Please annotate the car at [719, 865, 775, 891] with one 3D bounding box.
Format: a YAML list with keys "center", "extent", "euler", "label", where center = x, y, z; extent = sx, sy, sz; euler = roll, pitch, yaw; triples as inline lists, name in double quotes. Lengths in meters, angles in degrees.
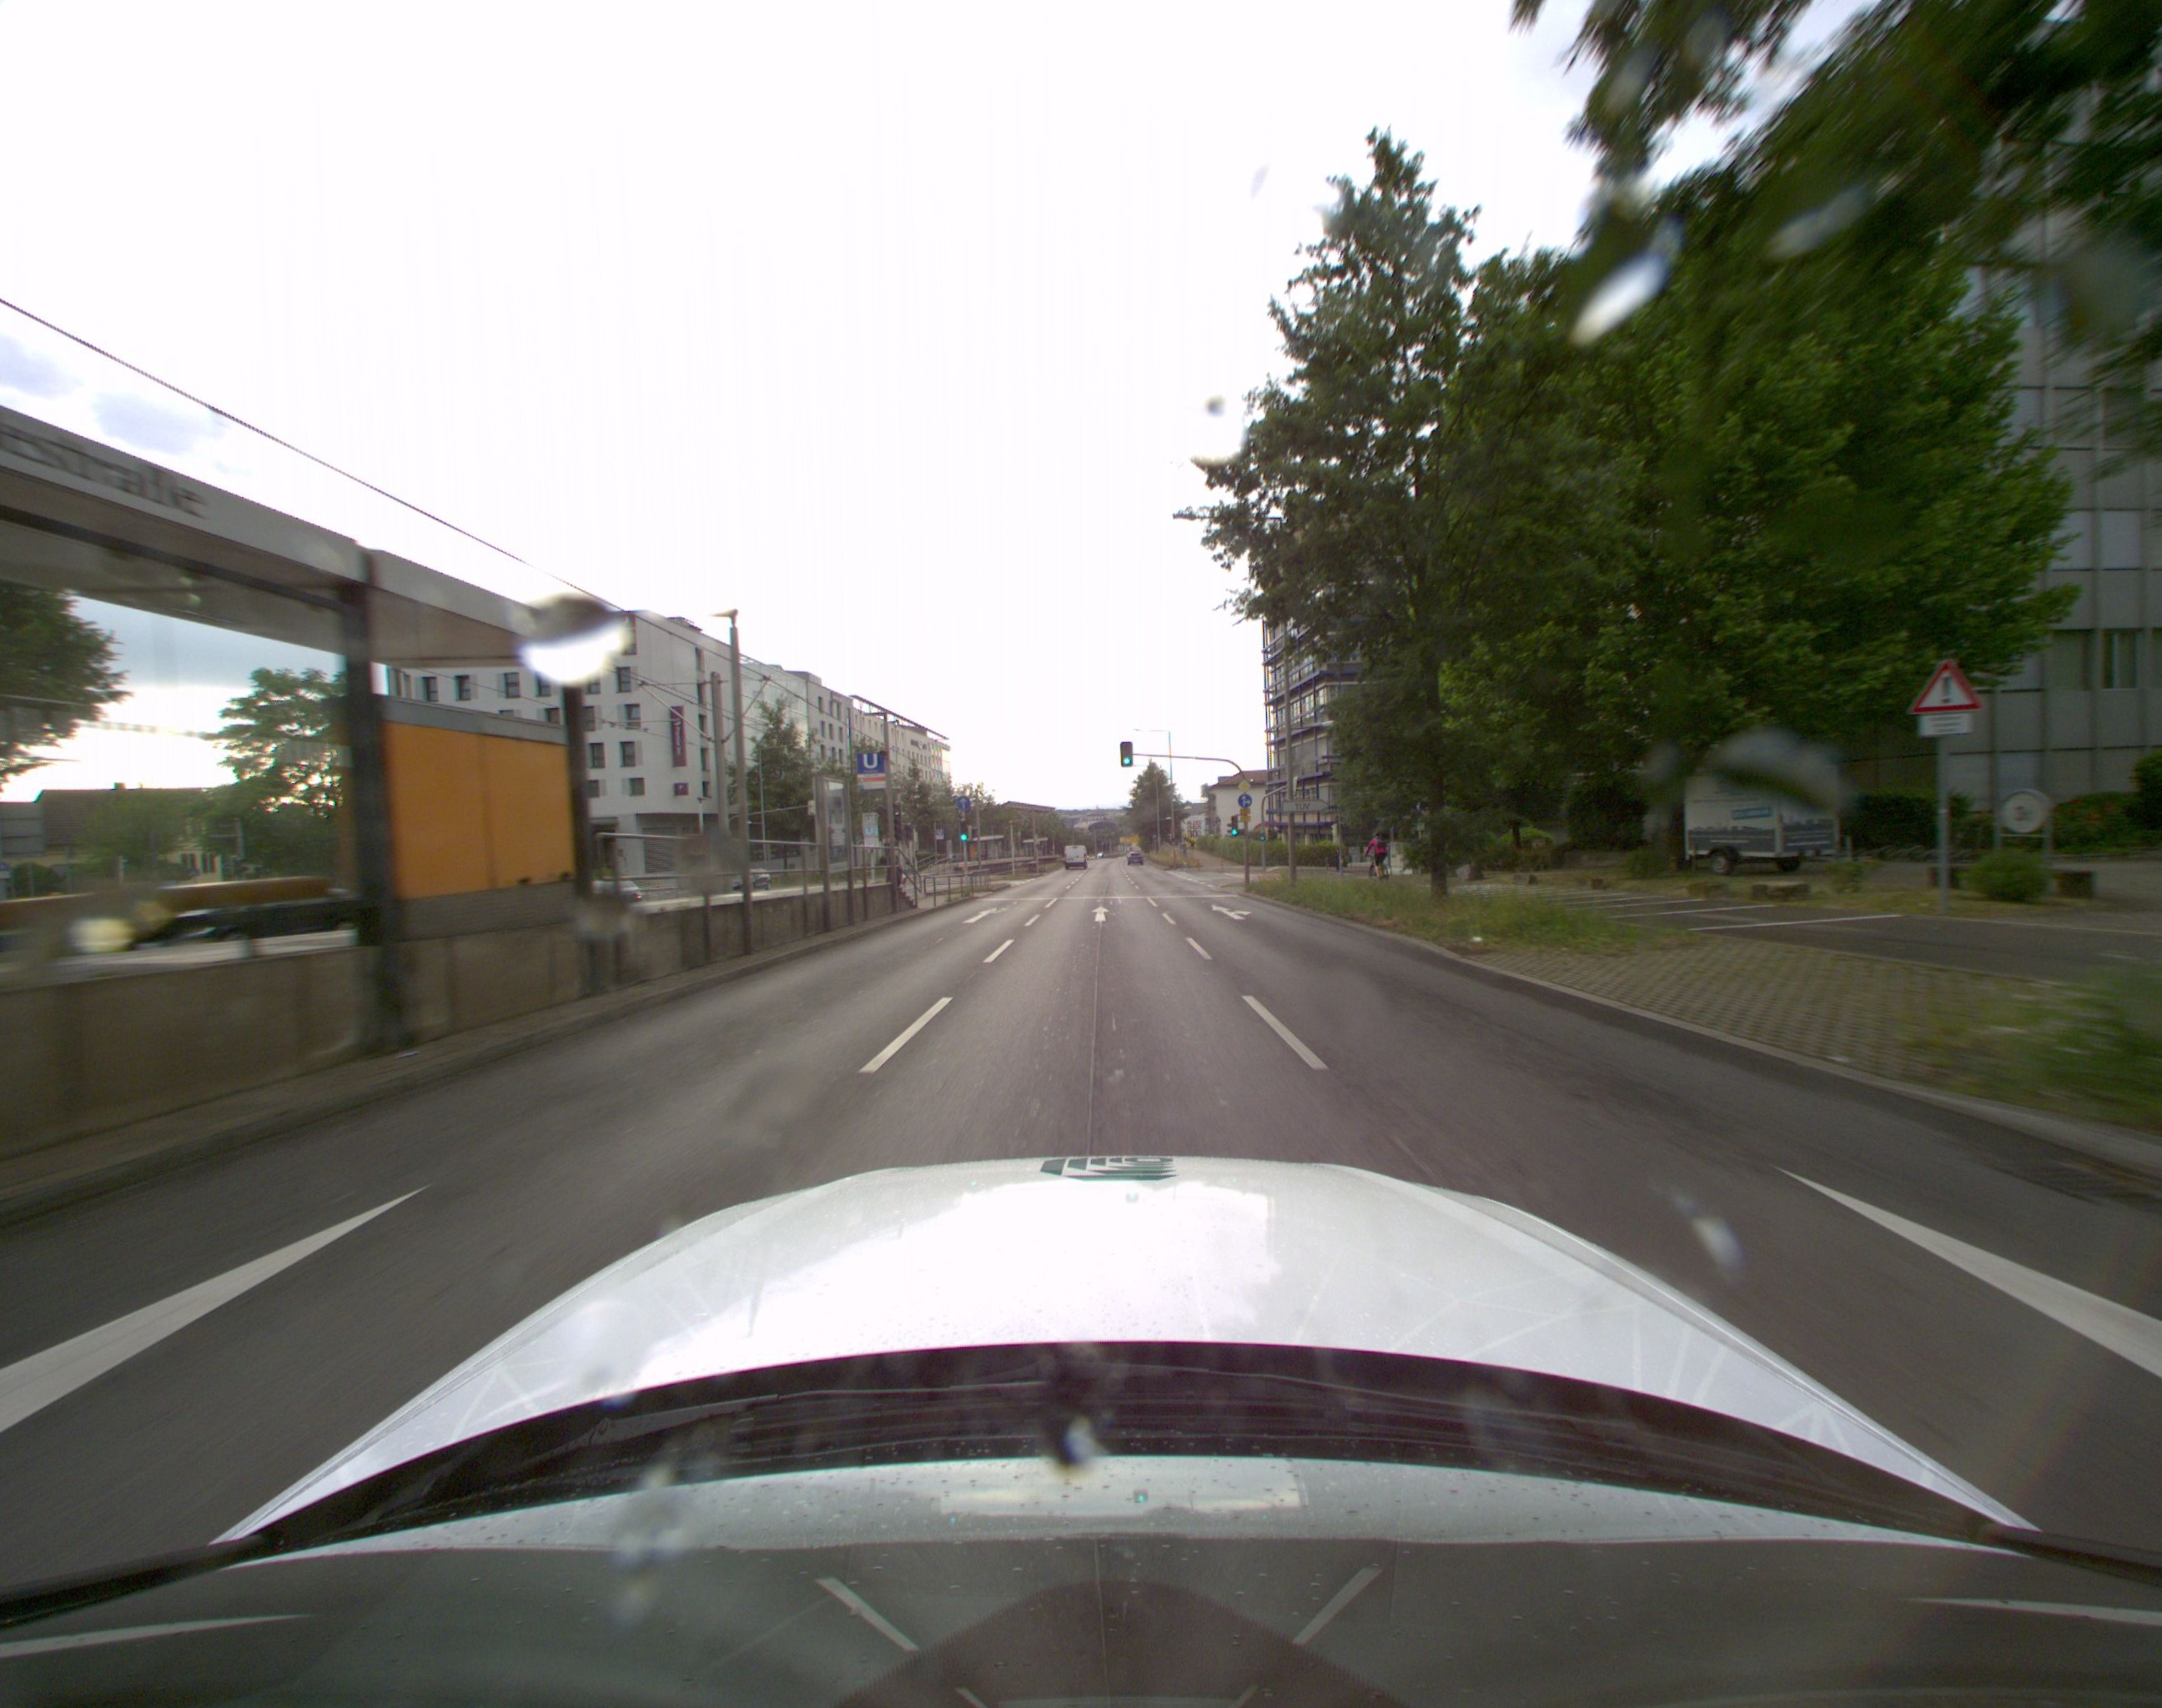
- center: [-20.256, 1.407, 49.483]
  extent: [1.722, 1.423, 3.780]
  euler: [-2, 0, 1]
  label: "car"

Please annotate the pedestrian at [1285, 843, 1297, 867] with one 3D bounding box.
- center: [14.955, 0.051, 57.966]
  extent: [0.553, 1.652, 0.830]
  euler: [-2, 0, -8]
  label: "pedestrian"

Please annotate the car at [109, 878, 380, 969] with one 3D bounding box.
- center: [-20.163, 1.583, 19.979]
  extent: [1.986, 1.774, 4.391]
  euler: [-2, 0, 2]
  label: "car"

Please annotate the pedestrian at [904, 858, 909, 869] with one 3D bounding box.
- center: [-25.570, 1.410, 119.436]
  extent: [0.597, 1.578, 0.836]
  euler: [0, -1, 4]
  label: "pedestrian"

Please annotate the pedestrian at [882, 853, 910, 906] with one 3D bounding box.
- center: [-5.941, 0.799, 26.109]
  extent: [0.704, 1.650, 0.644]
  euler: [-1, 0, -27]
  label: "pedestrian"

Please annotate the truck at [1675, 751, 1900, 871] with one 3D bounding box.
- center: [16.290, -0.893, 19.088]
  extent: [1.741, 2.518, 3.997]
  euler: [0, -1, -2]
  label: "truck"

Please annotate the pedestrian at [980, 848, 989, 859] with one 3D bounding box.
- center: [-11.476, -0.095, 96.899]
  extent: [0.957, 1.300, 0.685]
  euler: [-2, 0, 3]
  label: "pedestrian"

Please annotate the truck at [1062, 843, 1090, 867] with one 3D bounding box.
- center: [-0.460, 0.080, 79.590]
  extent: [2.350, 2.262, 5.310]
  euler: [0, 0, 3]
  label: "truck"

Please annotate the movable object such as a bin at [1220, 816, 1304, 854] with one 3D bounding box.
- center: [28.114, -2.878, 127.036]
  extent: [12.094, 5.261, 3.791]
  euler: [-3, -1, 2]
  label: "movable object such as a bin"

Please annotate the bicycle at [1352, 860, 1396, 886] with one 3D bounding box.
- center: [9.580, 0.596, 26.676]
  extent: [0.665, 0.809, 2.319]
  euler: [0, 0, 2]
  label: "bicycle"

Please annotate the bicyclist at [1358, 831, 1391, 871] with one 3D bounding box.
- center: [9.573, -0.092, 26.590]
  extent: [0.653, 1.288, 1.220]
  euler: [0, 0, 2]
  label: "bicyclist"

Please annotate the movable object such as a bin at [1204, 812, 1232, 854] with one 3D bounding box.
- center: [19.529, -2.846, 116.437]
  extent: [3.274, 5.685, 8.775]
  euler: [0, -1, 5]
  label: "movable object such as a bin"

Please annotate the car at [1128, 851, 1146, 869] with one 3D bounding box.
- center: [6.461, 0.703, 93.354]
  extent: [1.984, 2.014, 3.940]
  euler: [0, -1, 5]
  label: "car"

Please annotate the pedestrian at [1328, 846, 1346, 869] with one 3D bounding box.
- center: [17.263, 0.223, 54.876]
  extent: [0.892, 1.541, 0.804]
  euler: [-2, 0, 40]
  label: "pedestrian"
